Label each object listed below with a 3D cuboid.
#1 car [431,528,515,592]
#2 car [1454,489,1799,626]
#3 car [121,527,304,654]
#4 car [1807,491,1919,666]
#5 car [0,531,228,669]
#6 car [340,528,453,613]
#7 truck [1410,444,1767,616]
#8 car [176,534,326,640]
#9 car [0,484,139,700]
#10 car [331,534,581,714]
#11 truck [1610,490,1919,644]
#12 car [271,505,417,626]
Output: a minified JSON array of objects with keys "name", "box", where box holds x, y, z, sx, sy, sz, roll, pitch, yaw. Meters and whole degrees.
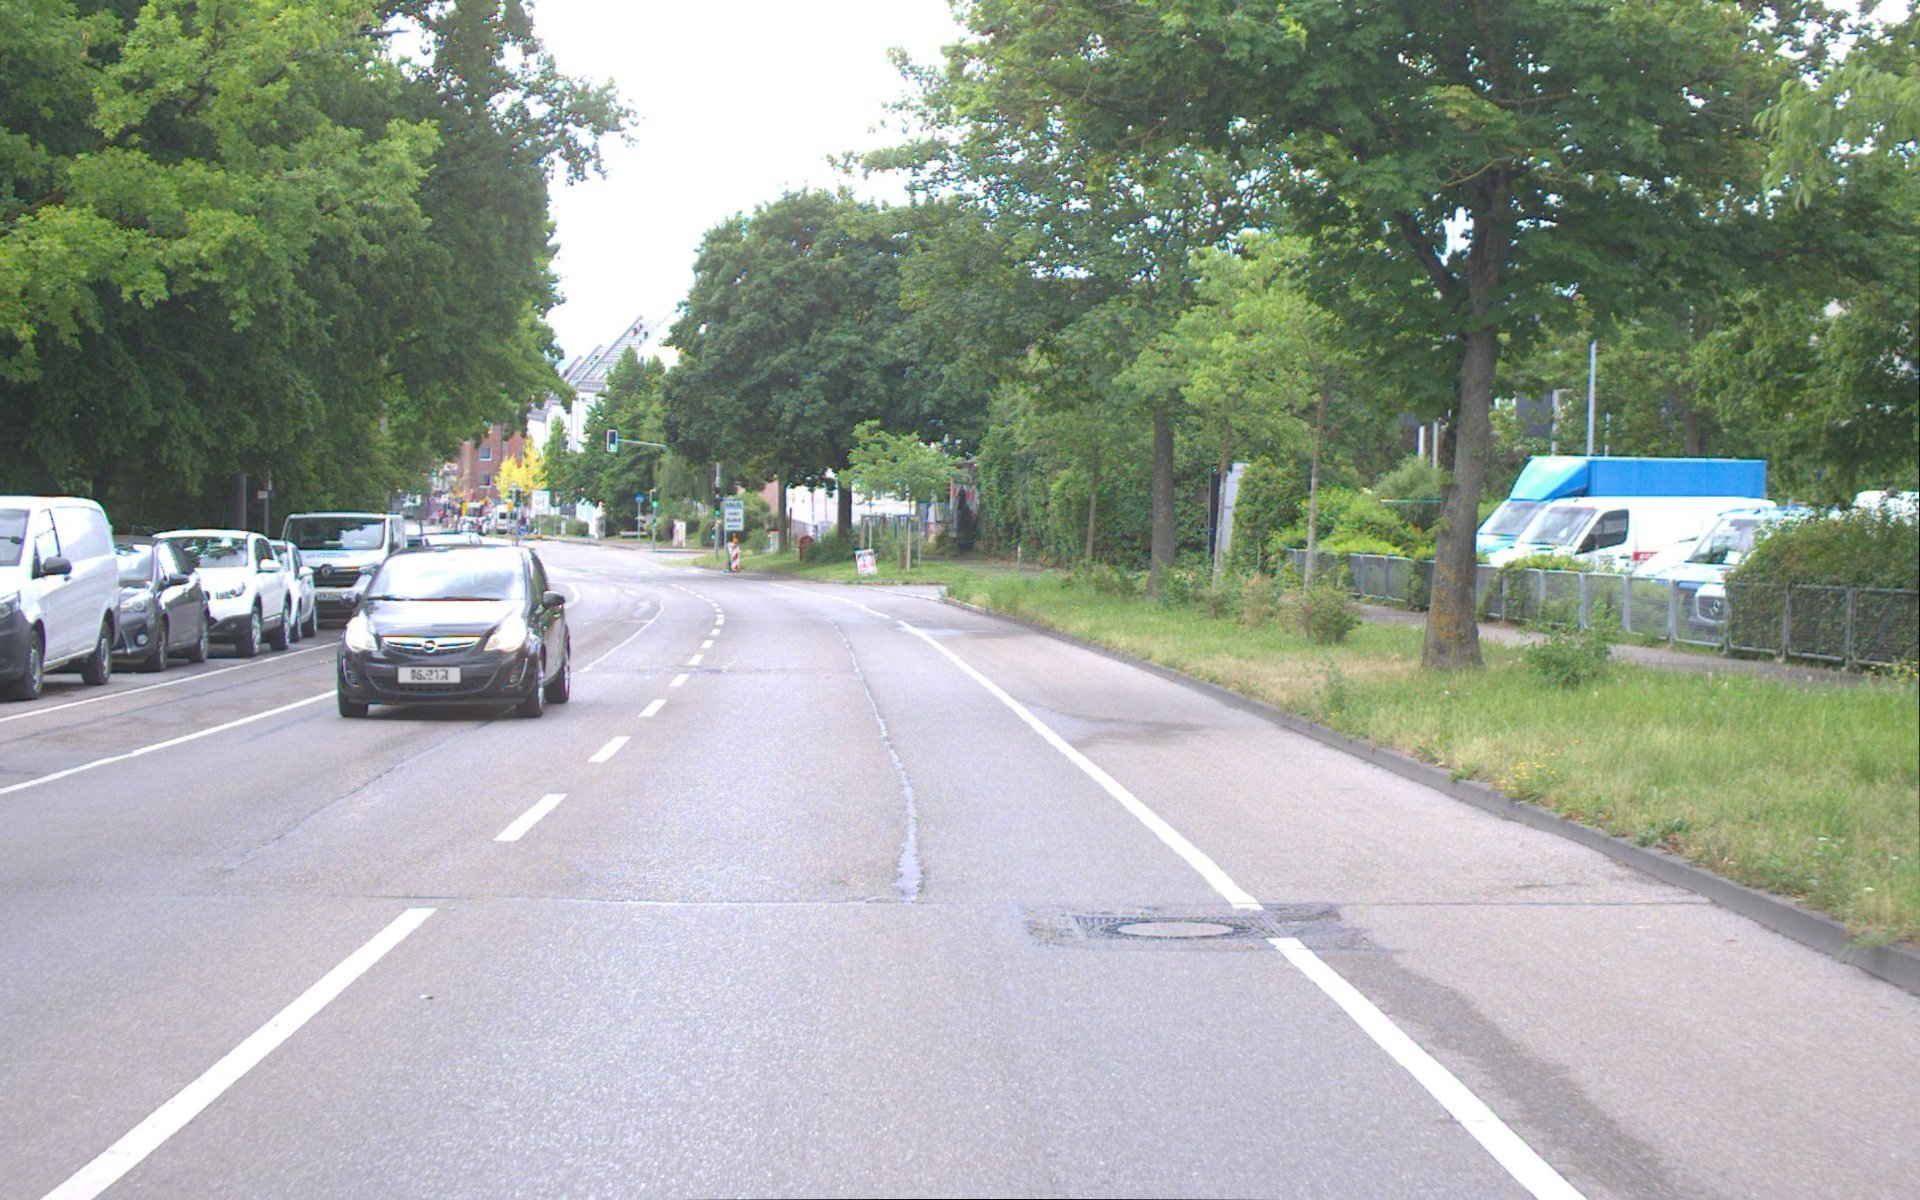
[{"name":"car","box":[-12.176,-0.996,86.199,1.767,1.567,4.760,0,1,-4]},{"name":"car","box":[12.416,-0.780,63.968,6.009,2.359,2.363,1,1,-26]},{"name":"car","box":[-9.591,-0.155,44.367,1.673,1.559,4.282,0,1,-3]},{"name":"car","box":[13.873,-0.248,45.040,5.243,2.180,2.072,1,1,-27]},{"name":"car","box":[-9.674,-0.031,39.572,1.673,1.483,4.045,-1,1,-1]},{"name":"car","box":[-11.185,-0.604,68.413,1.766,1.628,4.158,1,1,-3]},{"name":"truck","box":[13.176,-1.456,71.930,7.162,3.465,2.619,0,1,-27]},{"name":"car","box":[-10.382,-0.213,50.574,1.662,1.474,4.091,1,1,-5]},{"name":"car","box":[-9.388,-0.158,33.213,1.768,1.924,5.156,1,1,-2]},{"name":"car","box":[-4.332,0.164,30.024,1.637,1.462,4.000,0,1,-1]},{"name":"truck","box":[13.114,-0.477,52.569,6.232,2.205,2.247,1,1,-30]},{"name":"car","box":[-10.505,-0.612,58.938,1.866,1.957,5.128,1,1,-4]}]
